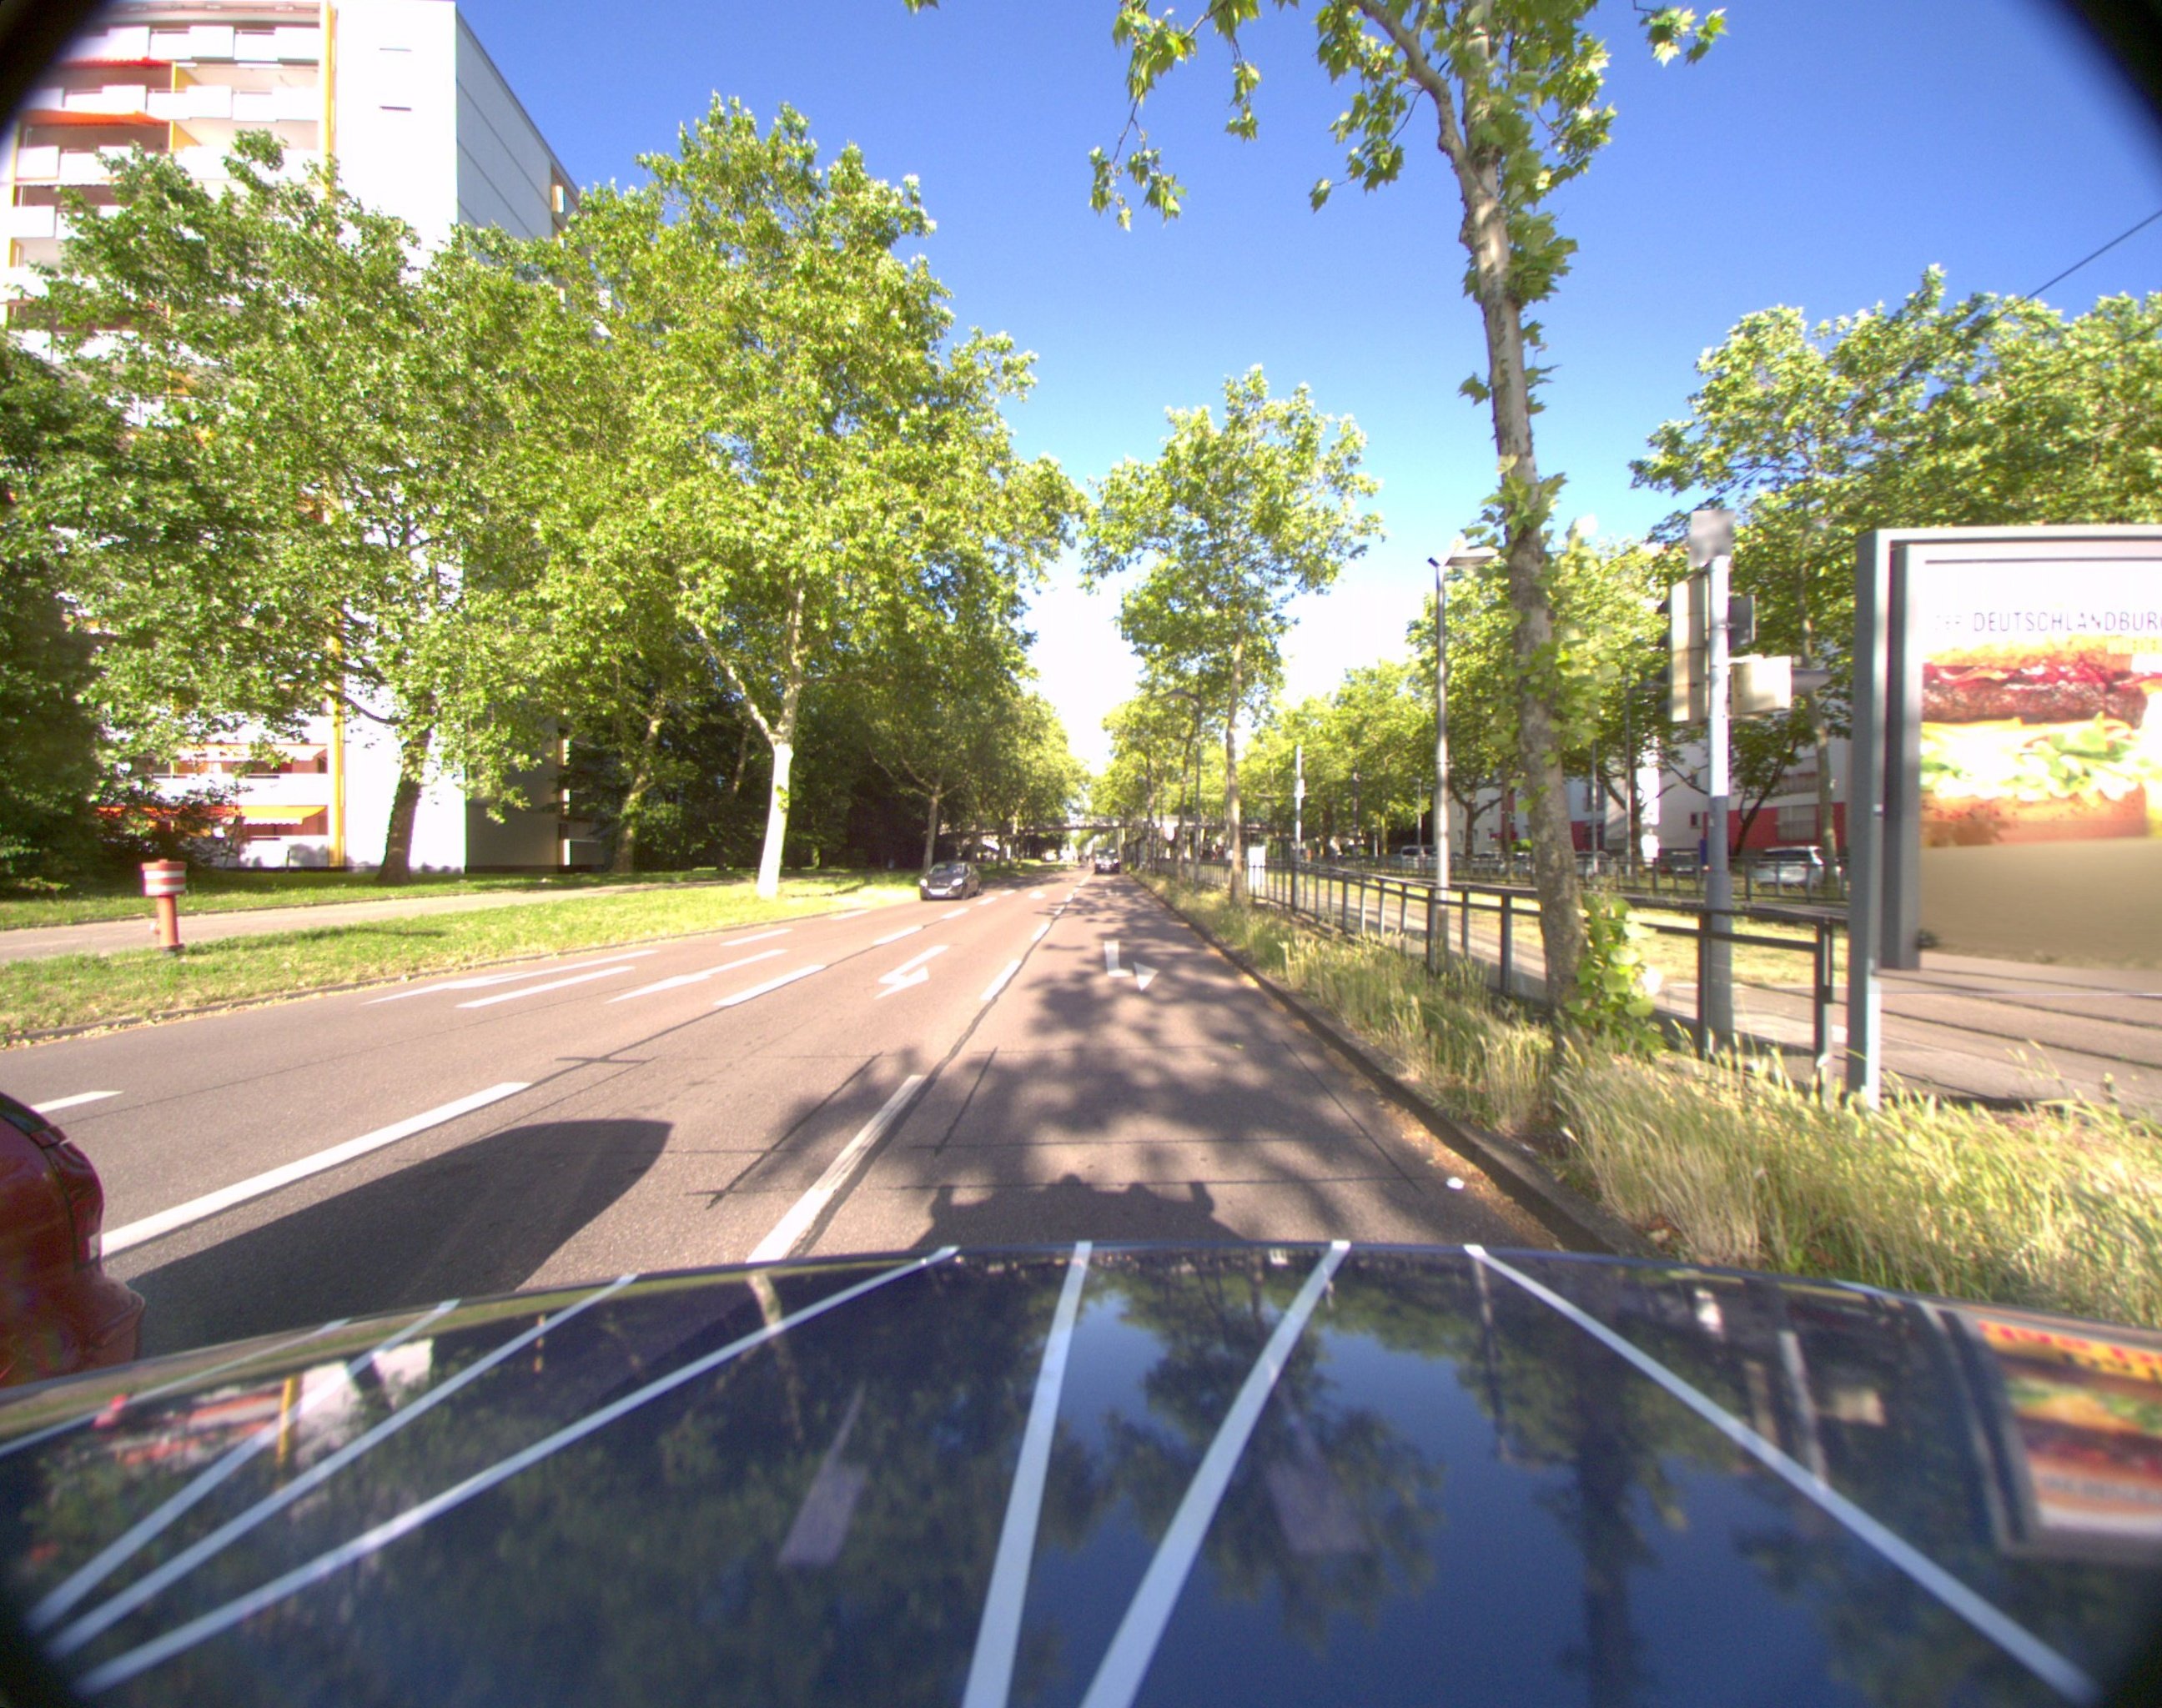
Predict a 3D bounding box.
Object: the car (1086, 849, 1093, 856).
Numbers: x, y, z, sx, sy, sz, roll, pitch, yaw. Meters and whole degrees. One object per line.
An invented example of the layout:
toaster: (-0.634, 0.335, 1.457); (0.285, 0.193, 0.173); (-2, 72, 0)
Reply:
car: (2.335, -0.366, 210.006); (2.040, 1.995, 5.113); (-1, 0, 1)

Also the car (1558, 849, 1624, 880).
car: (25.326, 0.502, 37.684); (3.689, 1.384, 1.645); (-1, 1, -38)

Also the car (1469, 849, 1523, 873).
car: (25.952, 0.416, 47.489); (3.689, 1.440, 1.645); (-1, 1, -39)

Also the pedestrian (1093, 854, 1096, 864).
pedestrian: (1.827, 0.674, 103.017); (0.398, 1.454, 0.417); (-1, 1, -3)

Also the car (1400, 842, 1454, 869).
car: (25.955, 0.087, 56.986); (4.376, 1.873, 1.919); (-1, 1, -39)

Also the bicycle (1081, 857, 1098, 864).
bicycle: (1.149, 0.864, 100.421); (2.143, 0.959, 0.601); (-1, 1, -3)

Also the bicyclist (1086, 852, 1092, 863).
bicyclist: (1.007, 0.456, 100.407); (0.709, 1.479, 0.610); (-1, 1, -3)

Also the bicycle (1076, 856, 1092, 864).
bicycle: (0.368, 0.802, 101.890); (2.143, 0.959, 0.601); (-1, 1, -3)

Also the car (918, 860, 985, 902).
car: (-4.936, 0.987, 29.463); (1.750, 1.460, 3.893); (-1, 0, 3)

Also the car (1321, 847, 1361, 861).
car: (27.235, 0.026, 79.568); (4.376, 1.367, 1.919); (-1, 1, -39)

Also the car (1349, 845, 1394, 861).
car: (26.836, -0.096, 70.218); (4.376, 1.367, 1.919); (-1, 1, -39)

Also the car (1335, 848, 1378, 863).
car: (26.581, 0.101, 73.272); (4.376, 1.367, 1.919); (-1, 1, -39)

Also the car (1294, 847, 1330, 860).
car: (27.193, -0.057, 89.422); (4.376, 1.367, 1.919); (-1, 1, -39)

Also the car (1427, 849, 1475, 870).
car: (26.240, 0.349, 53.892); (3.689, 1.388, 1.645); (-1, 1, -39)

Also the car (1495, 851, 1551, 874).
car: (26.196, 0.483, 44.954); (3.689, 1.234, 1.645); (-1, 1, -39)

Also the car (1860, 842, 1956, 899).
car: (25.015, 0.462, 22.954); (3.689, 1.558, 1.683); (-1, 1, -38)

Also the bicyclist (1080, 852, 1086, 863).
bicyclist: (0.304, 0.466, 101.880); (0.709, 1.479, 0.610); (-1, 1, -3)

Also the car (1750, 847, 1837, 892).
car: (25.053, 0.495, 26.679); (3.689, 1.425, 1.683); (-1, 1, -38)

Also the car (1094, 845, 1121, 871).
car: (2.202, 0.305, 64.357); (2.040, 2.102, 5.113); (-1, 0, 1)

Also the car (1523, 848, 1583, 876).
car: (25.807, 0.430, 41.512); (3.689, 1.440, 1.645); (-1, 1, -39)
